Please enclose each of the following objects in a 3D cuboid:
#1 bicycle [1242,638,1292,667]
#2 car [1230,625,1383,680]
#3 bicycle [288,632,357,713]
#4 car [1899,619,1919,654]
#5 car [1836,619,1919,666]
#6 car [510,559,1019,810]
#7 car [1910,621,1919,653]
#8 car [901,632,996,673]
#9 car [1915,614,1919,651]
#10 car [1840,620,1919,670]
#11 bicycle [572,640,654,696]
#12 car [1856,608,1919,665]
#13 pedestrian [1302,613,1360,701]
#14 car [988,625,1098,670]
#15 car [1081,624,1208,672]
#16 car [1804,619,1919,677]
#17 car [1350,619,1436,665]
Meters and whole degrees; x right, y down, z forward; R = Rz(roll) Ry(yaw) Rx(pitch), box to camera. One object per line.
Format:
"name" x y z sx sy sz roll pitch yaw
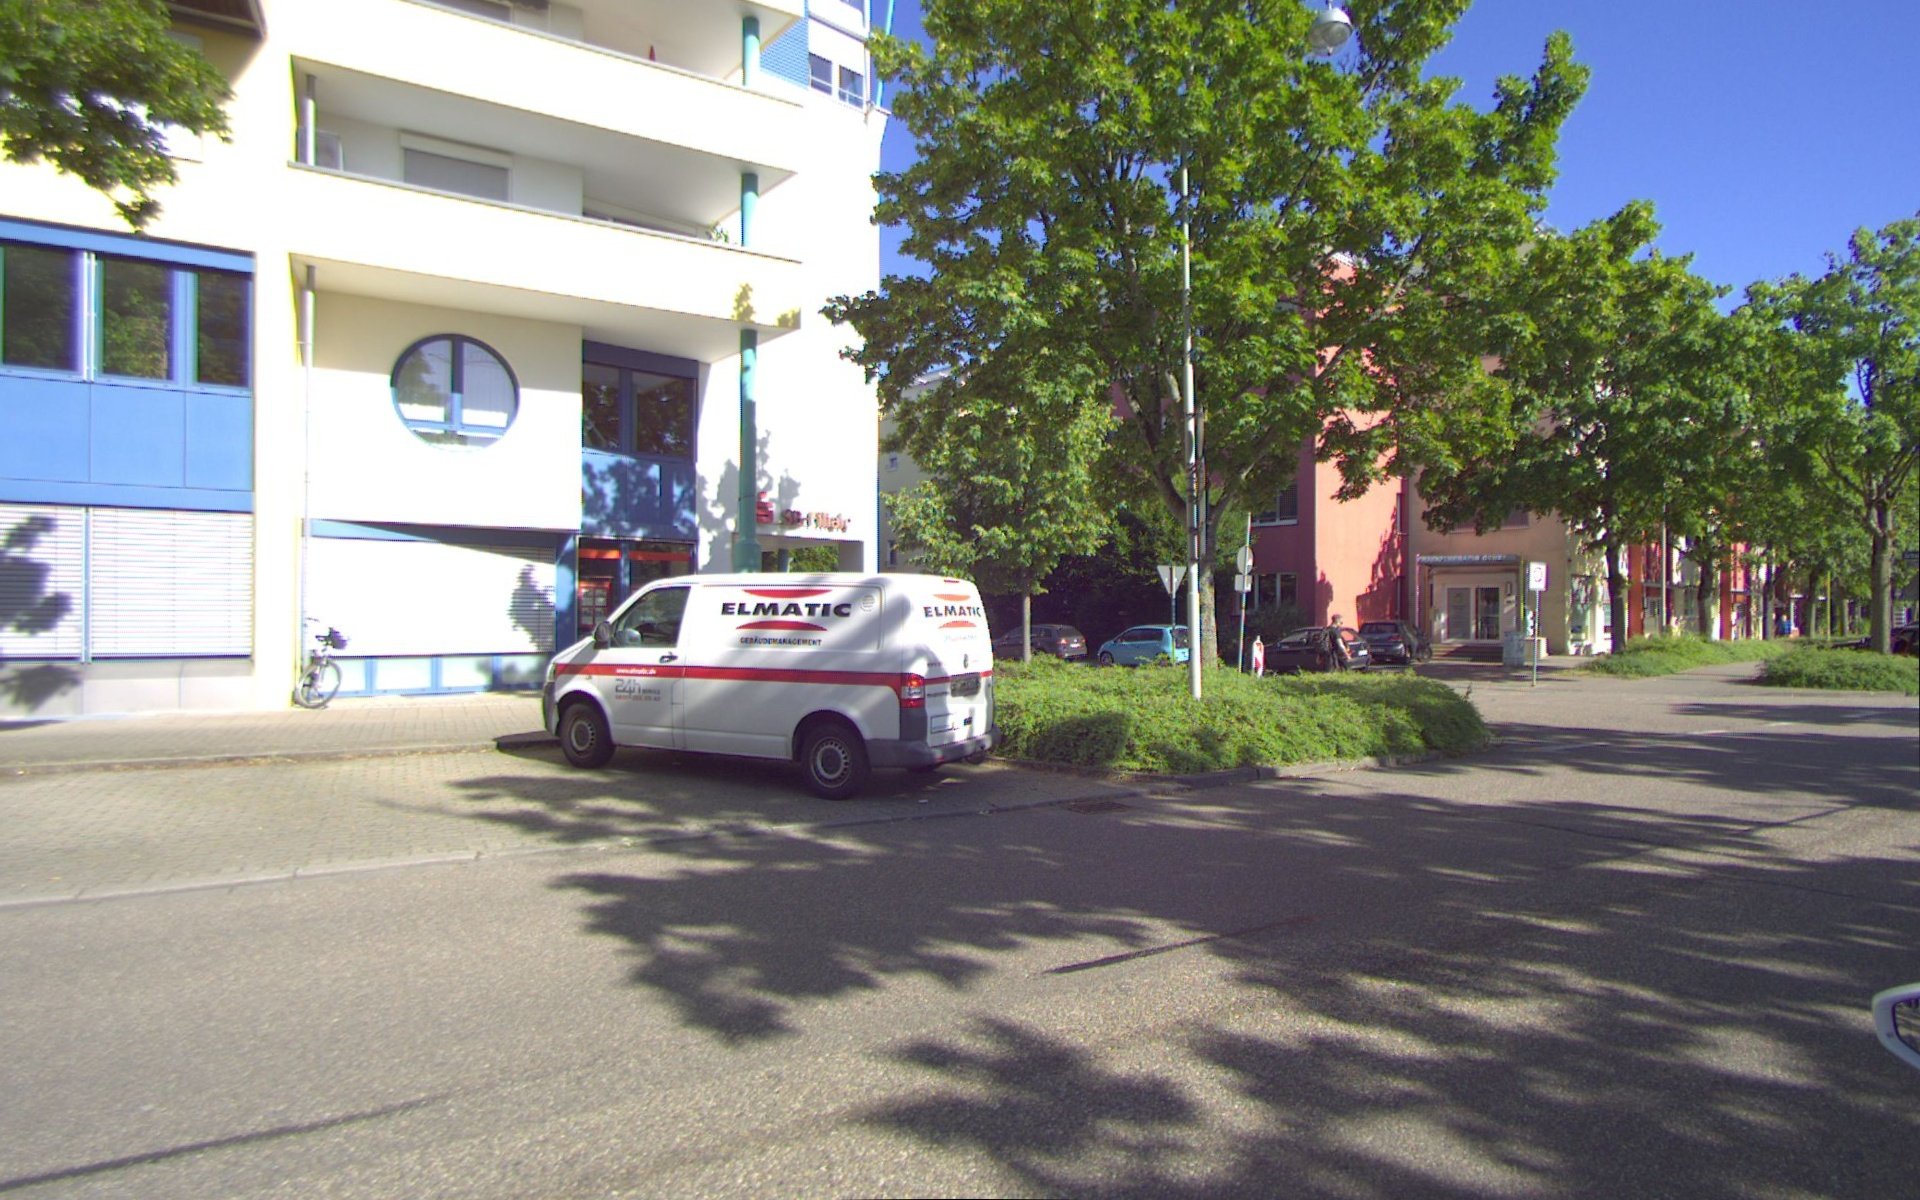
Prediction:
"bicycle" 10.900 1.847 35.672 1.645 0.999 0.449 -1 -1 33
"car" 10.265 1.508 29.930 1.789 1.466 3.948 -2 0 -41
"bicycle" -9.399 1.040 14.864 0.693 1.112 1.791 0 -2 -27
"car" 41.897 1.573 41.976 1.827 1.446 3.693 1 0 -41
"car" 30.967 1.382 32.403 1.725 1.442 3.858 1 0 -40
"car" -1.958 0.663 9.940 4.681 2.012 1.998 0 0 25
"car" 45.813 1.737 45.182 1.760 1.446 4.362 1 0 -42
"car" -0.540 2.178 42.576 1.921 1.524 3.960 -2 0 -41
"car" 47.766 1.603 46.939 1.943 1.740 4.291 1 0 -36
"car" 29.225 1.382 30.266 1.725 1.442 3.858 1 0 -40
"bicycle" -6.226 1.200 17.987 1.776 0.883 0.490 1 0 38
"car" 32.774 1.244 33.670 1.771 1.835 3.858 1 0 -40
"pedestrian" 7.656 1.164 20.721 1.013 1.748 0.652 1 -2 -37
"car" 3.109 1.763 38.332 1.921 1.524 3.960 -2 0 -41
"car" 6.305 1.609 34.606 1.921 1.470 3.960 -2 0 -41
"car" 25.712 1.296 27.088 1.723 1.442 4.231 1 0 -37
"car" 14.794 1.403 34.213 1.712 1.462 4.115 -2 -2 37
